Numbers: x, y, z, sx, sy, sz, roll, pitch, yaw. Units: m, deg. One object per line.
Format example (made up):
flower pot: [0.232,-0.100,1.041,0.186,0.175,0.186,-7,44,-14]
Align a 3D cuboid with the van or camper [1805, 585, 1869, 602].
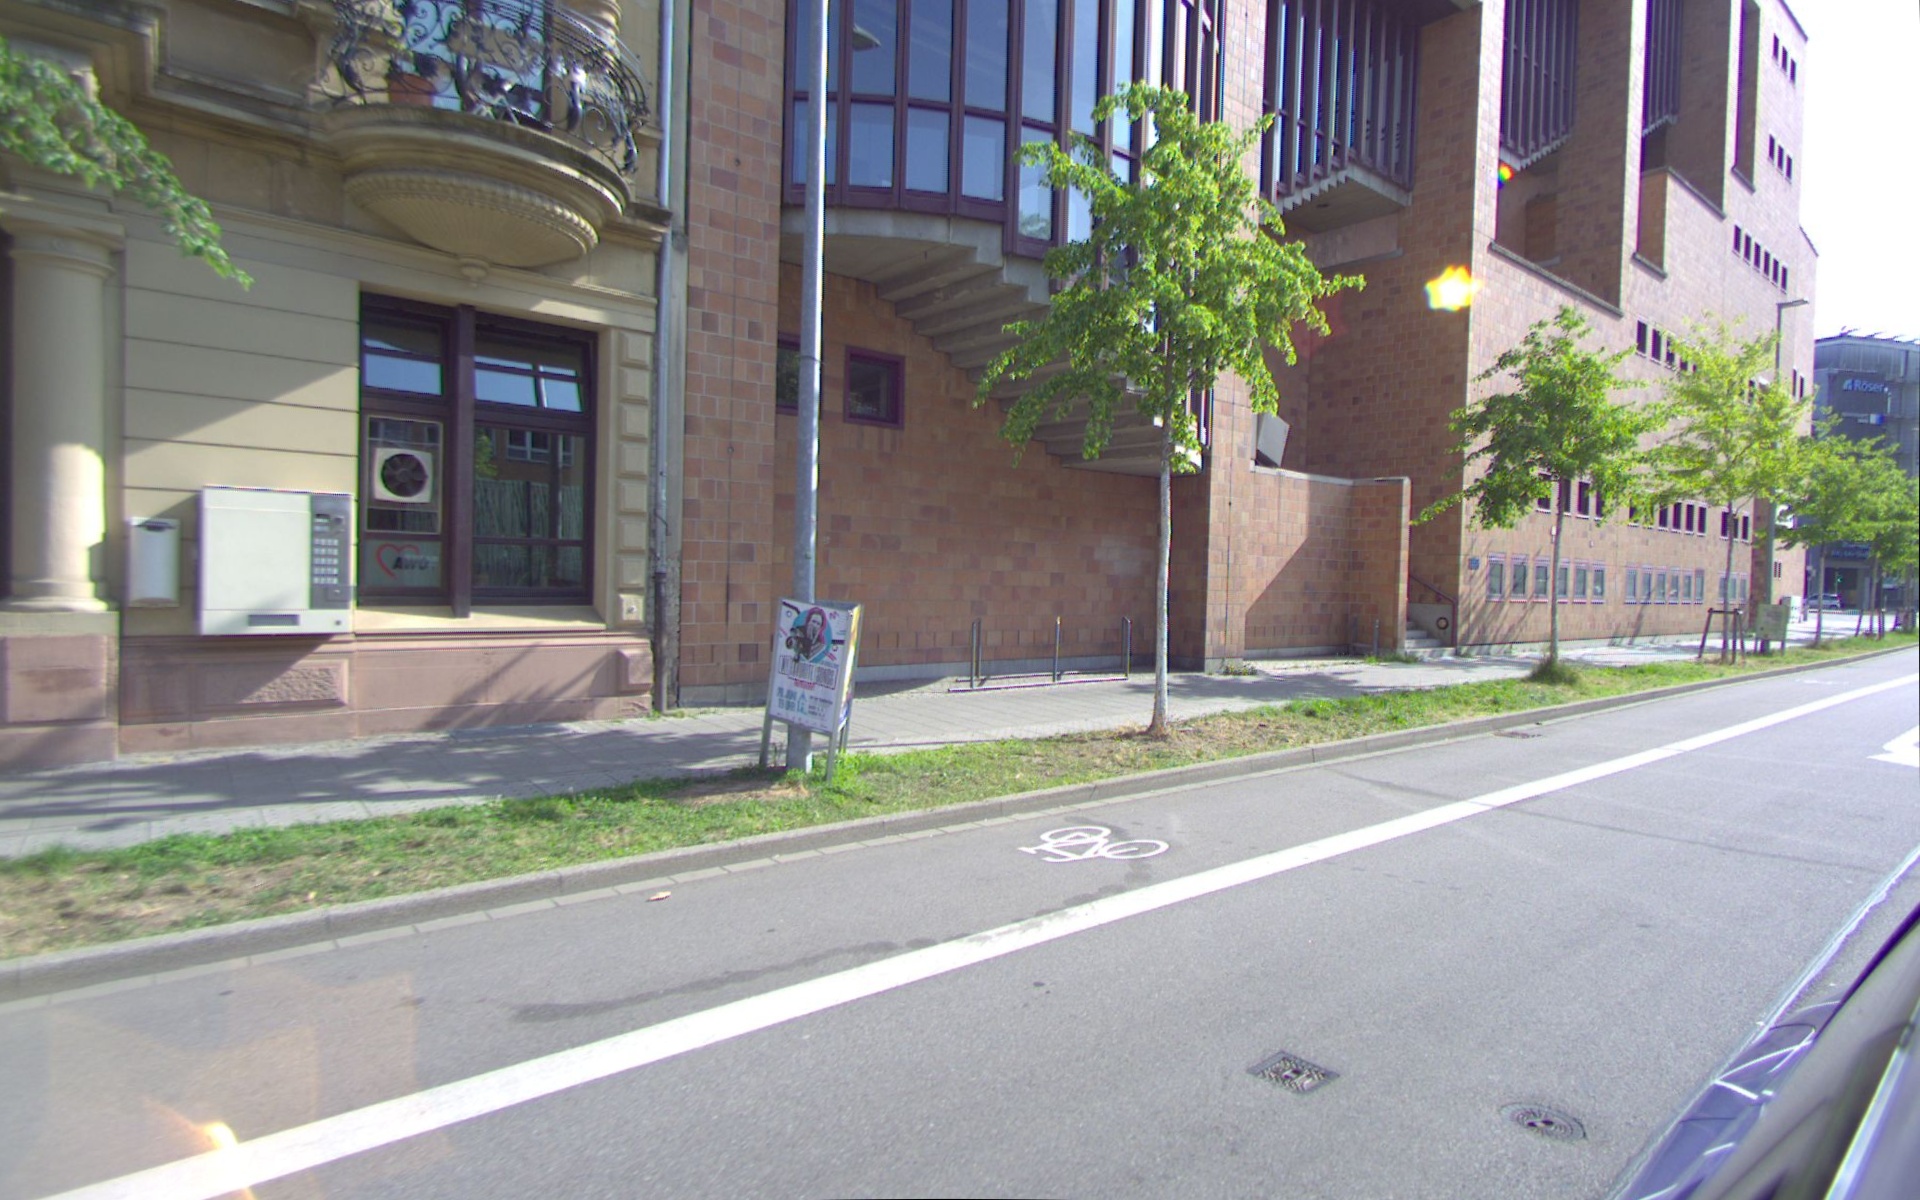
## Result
van or camper: [76.017,-0.602,87.800,3.964,1.329,1.910,3,3,37]
